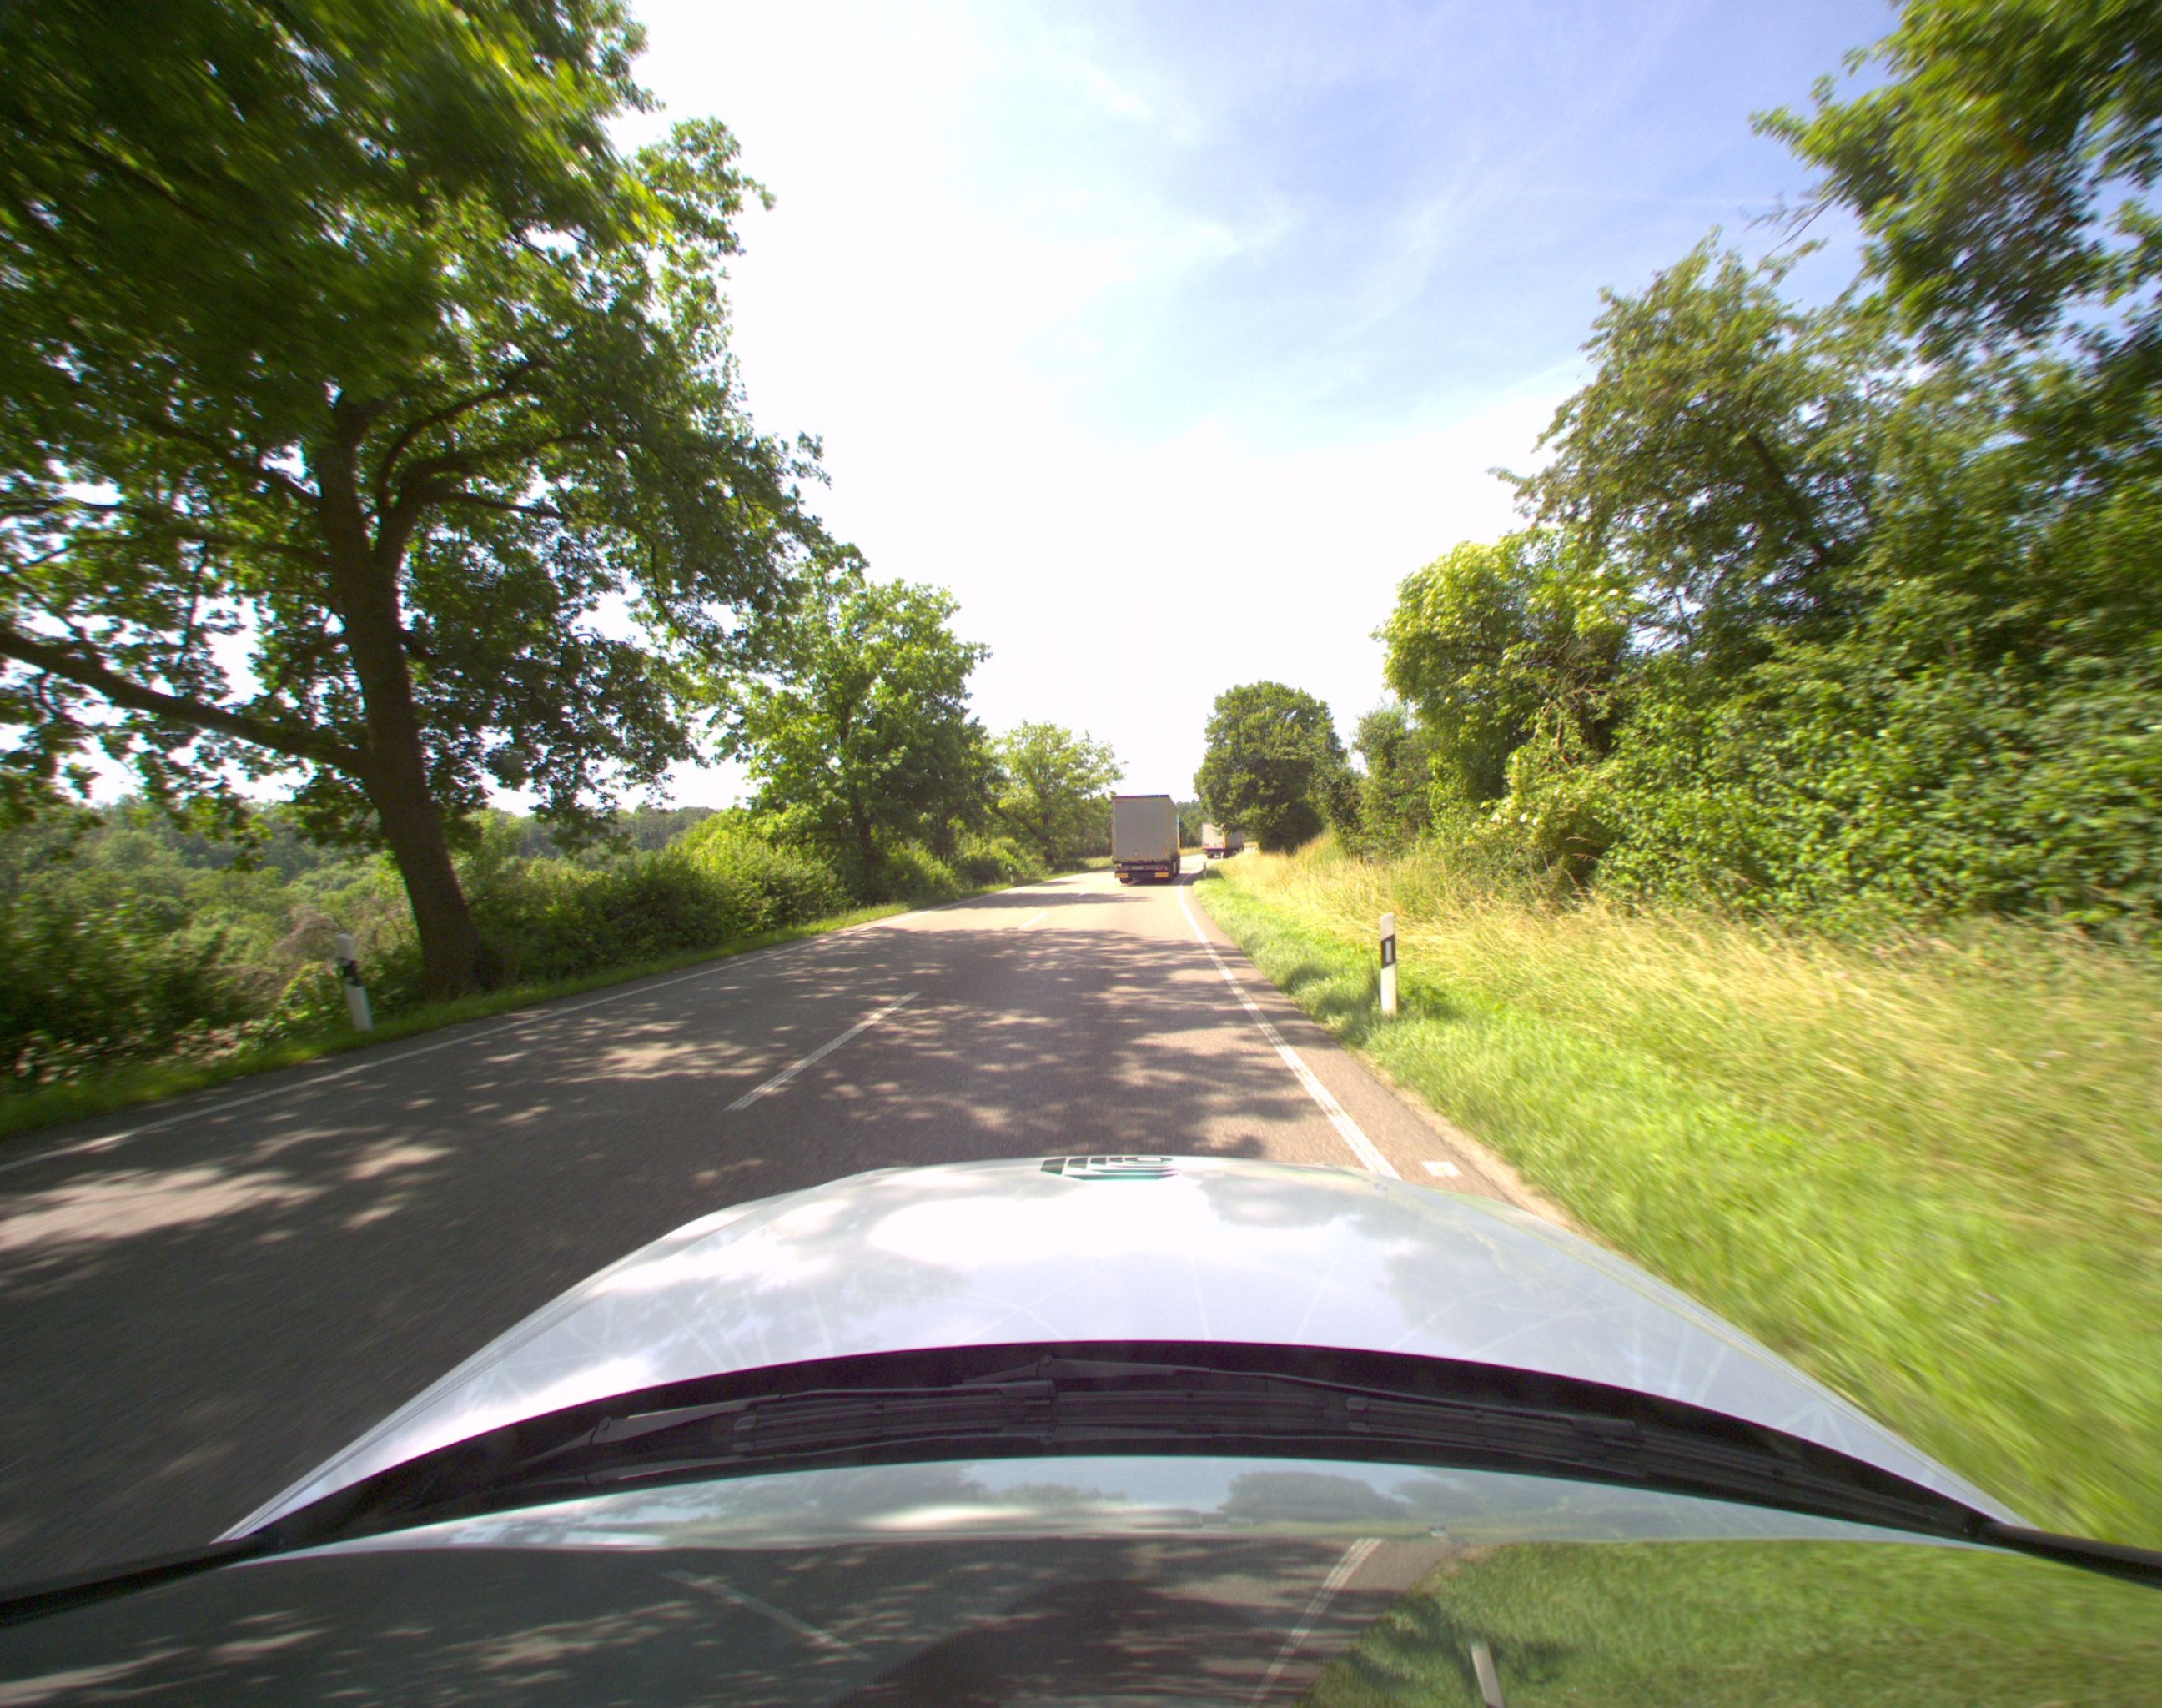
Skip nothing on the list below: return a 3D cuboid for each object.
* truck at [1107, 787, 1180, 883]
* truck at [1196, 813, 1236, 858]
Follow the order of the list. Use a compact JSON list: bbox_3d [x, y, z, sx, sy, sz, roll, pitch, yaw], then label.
[{"bbox_3d":[3.616,-0.933,42.935,2.786,4.068,15.360,-1,1,8],"label":"truck"},{"bbox_3d":[16.113,-2.131,95.941,3.082,4.705,16.653,-2,1,14],"label":"truck"}]
